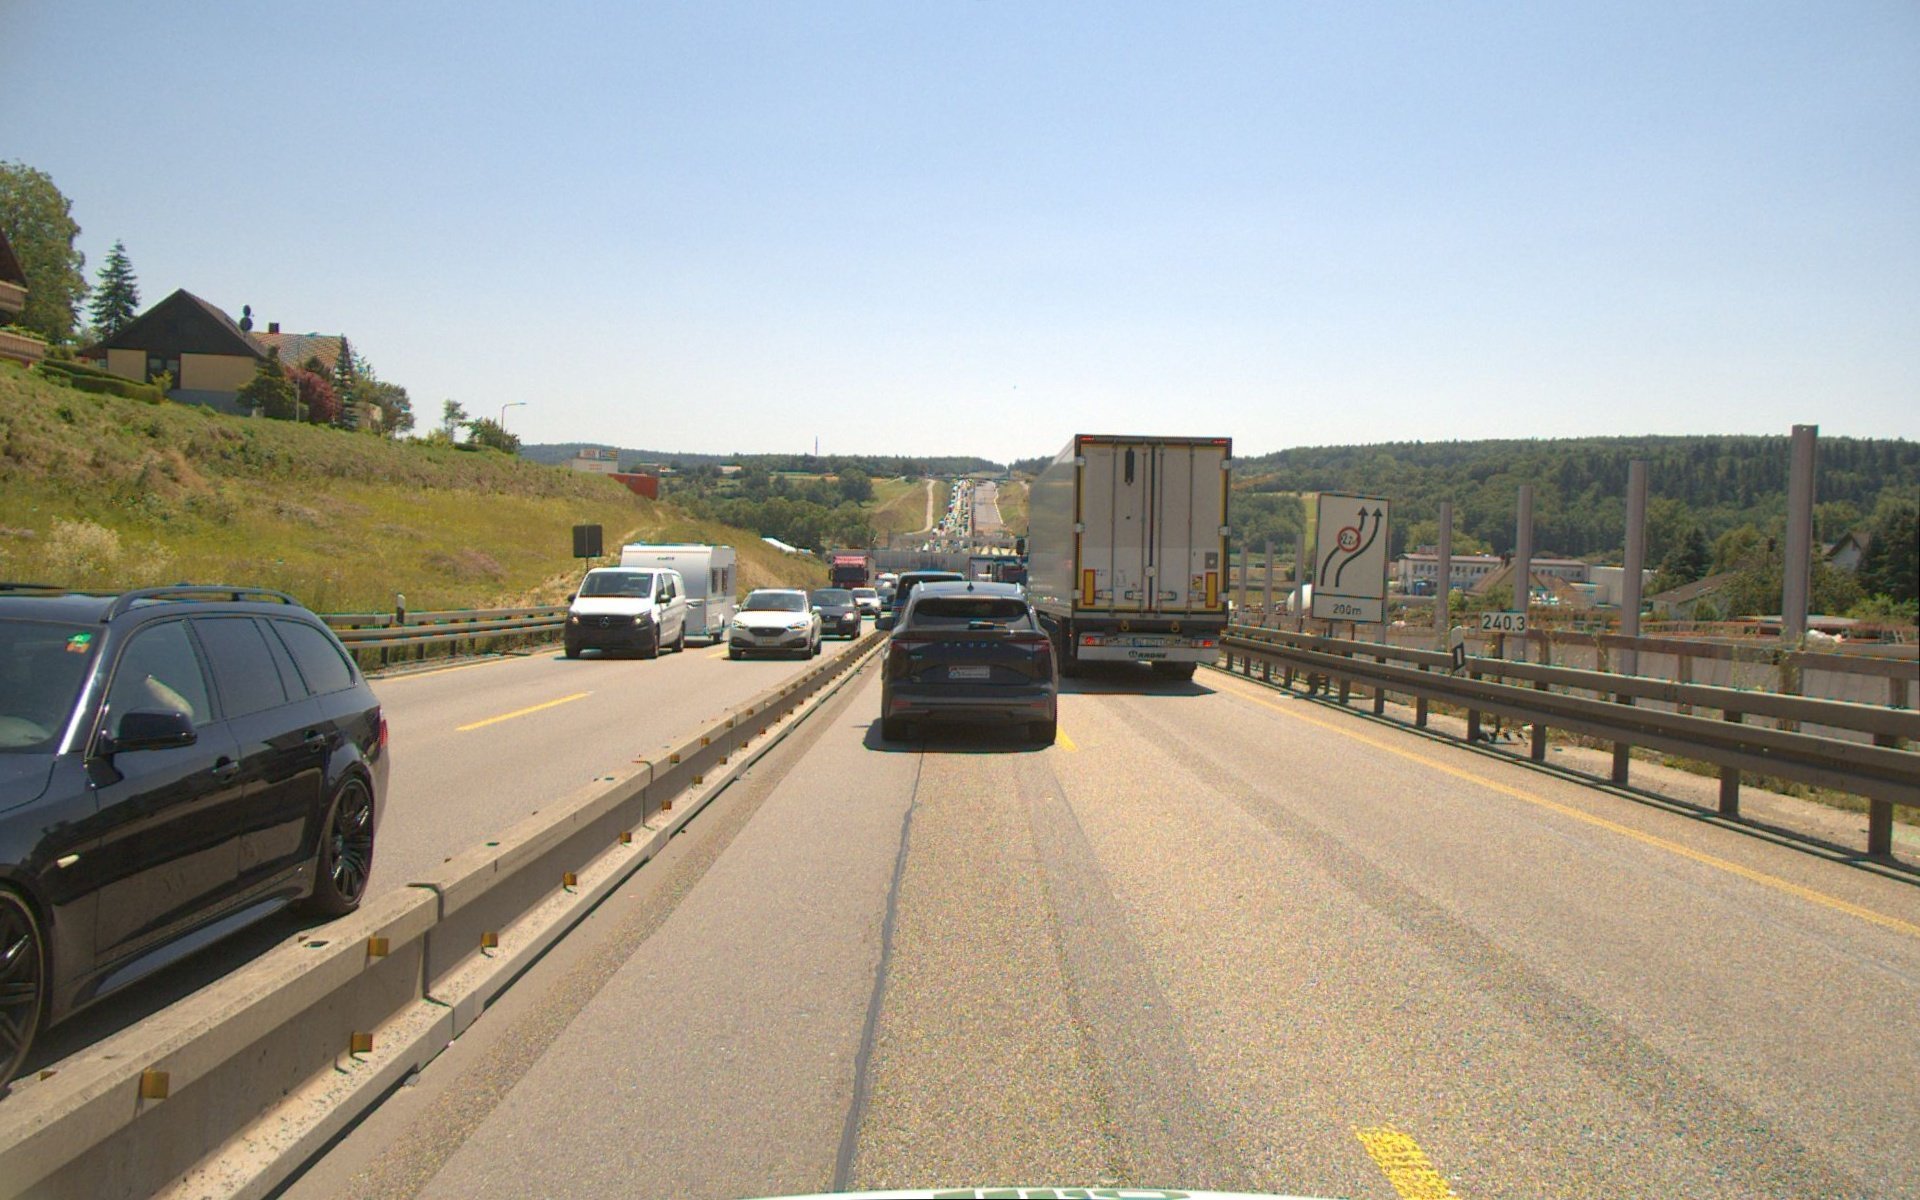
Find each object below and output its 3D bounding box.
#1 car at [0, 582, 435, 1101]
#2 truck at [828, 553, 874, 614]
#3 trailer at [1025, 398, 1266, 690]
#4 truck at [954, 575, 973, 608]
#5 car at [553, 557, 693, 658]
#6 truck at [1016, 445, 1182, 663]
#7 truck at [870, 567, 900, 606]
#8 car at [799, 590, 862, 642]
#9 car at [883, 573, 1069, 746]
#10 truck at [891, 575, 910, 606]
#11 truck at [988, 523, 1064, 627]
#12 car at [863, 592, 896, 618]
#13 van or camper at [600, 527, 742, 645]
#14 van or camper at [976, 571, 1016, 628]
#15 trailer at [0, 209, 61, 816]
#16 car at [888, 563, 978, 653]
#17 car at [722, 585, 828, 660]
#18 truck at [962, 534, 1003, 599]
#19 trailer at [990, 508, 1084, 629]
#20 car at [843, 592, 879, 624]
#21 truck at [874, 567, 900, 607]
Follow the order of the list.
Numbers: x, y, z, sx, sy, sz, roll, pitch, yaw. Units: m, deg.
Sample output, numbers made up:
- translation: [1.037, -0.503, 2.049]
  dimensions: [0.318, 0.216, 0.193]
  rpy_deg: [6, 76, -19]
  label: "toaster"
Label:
- translation: [-3.593, 0.657, 6.033]
  dimensions: [1.856, 1.439, 4.679]
  rpy_deg: [0, 0, 0]
  label: "car"
- translation: [-8.115, -1.153, 124.191]
  dimensions: [2.794, 4.212, 11.914]
  rpy_deg: [1, -1, -1]
  label: "truck"
- translation: [3.217, -0.961, 32.877]
  dimensions: [3.115, 4.591, 13.107]
  rpy_deg: [1, 1, -1]
  label: "trailer"
- translation: [0.428, -1.150, 232.491]
  dimensions: [2.586, 4.267, 9.282]
  rpy_deg: [1, -1, 0]
  label: "truck"
- translation: [-7.194, 0.143, 35.901]
  dimensions: [1.953, 2.005, 5.342]
  rpy_deg: [1, 0, 0]
  label: "car"
- translation: [3.108, -1.021, 39.392]
  dimensions: [3.115, 4.591, 8.165]
  rpy_deg: [1, 1, -1]
  label: "truck"
- translation: [-7.903, -1.364, 175.645]
  dimensions: [2.794, 3.849, 11.914]
  rpy_deg: [1, -1, -1]
  label: "truck"
- translation: [-3.770, 0.435, 48.769]
  dimensions: [1.632, 1.438, 3.816]
  rpy_deg: [1, 0, -1]
  label: "car"
- translation: [0.158, 0.584, 17.885]
  dimensions: [1.765, 1.635, 4.000]
  rpy_deg: [1, 0, 0]
  label: "car"
- translation: [-9.266, -1.425, 258.203]
  dimensions: [2.794, 4.414, 11.914]
  rpy_deg: [1, -1, -1]
  label: "truck"
- translation: [3.009, -1.071, 77.962]
  dimensions: [3.115, 4.592, 8.163]
  rpy_deg: [1, -1, -1]
  label: "truck"
- translation: [-5.038, 0.297, 104.276]
  dimensions: [1.953, 1.557, 3.999]
  rpy_deg: [1, 0, -1]
  label: "car"
- translation: [-7.255, -0.360, 42.499]
  dimensions: [2.309, 2.723, 7.857]
  rpy_deg: [1, 0, -1]
  label: "van or camper"
- translation: [2.209, 0.004, 101.570]
  dimensions: [2.339, 3.338, 6.469]
  rpy_deg: [1, -1, 1]
  label: "van or camper"
- translation: [-7.026, -0.506, 4.688]
  dimensions: [2.661, 3.657, 11.792]
  rpy_deg: [1, 0, -1]
  label: "trailer"
- translation: [-0.627, 0.208, 38.882]
  dimensions: [1.953, 1.959, 4.506]
  rpy_deg: [1, -1, -1]
  label: "car"
- translation: [-3.967, 0.444, 36.138]
  dimensions: [1.874, 1.506, 4.635]
  rpy_deg: [1, 0, -1]
  label: "car"
- translation: [1.688, -2.477, 128.692]
  dimensions: [2.794, 4.543, 11.914]
  rpy_deg: [1, -1, -1]
  label: "truck"
- translation: [3.087, -1.087, 70.980]
  dimensions: [3.115, 4.592, 14.963]
  rpy_deg: [1, -1, -1]
  label: "trailer"
- translation: [-4.957, 0.367, 83.071]
  dimensions: [1.756, 1.545, 3.997]
  rpy_deg: [0, 0, -3]
  label: "car"
- translation: [-8.728, -1.492, 198.654]
  dimensions: [2.794, 4.414, 11.914]
  rpy_deg: [1, -1, -1]
  label: "truck"
